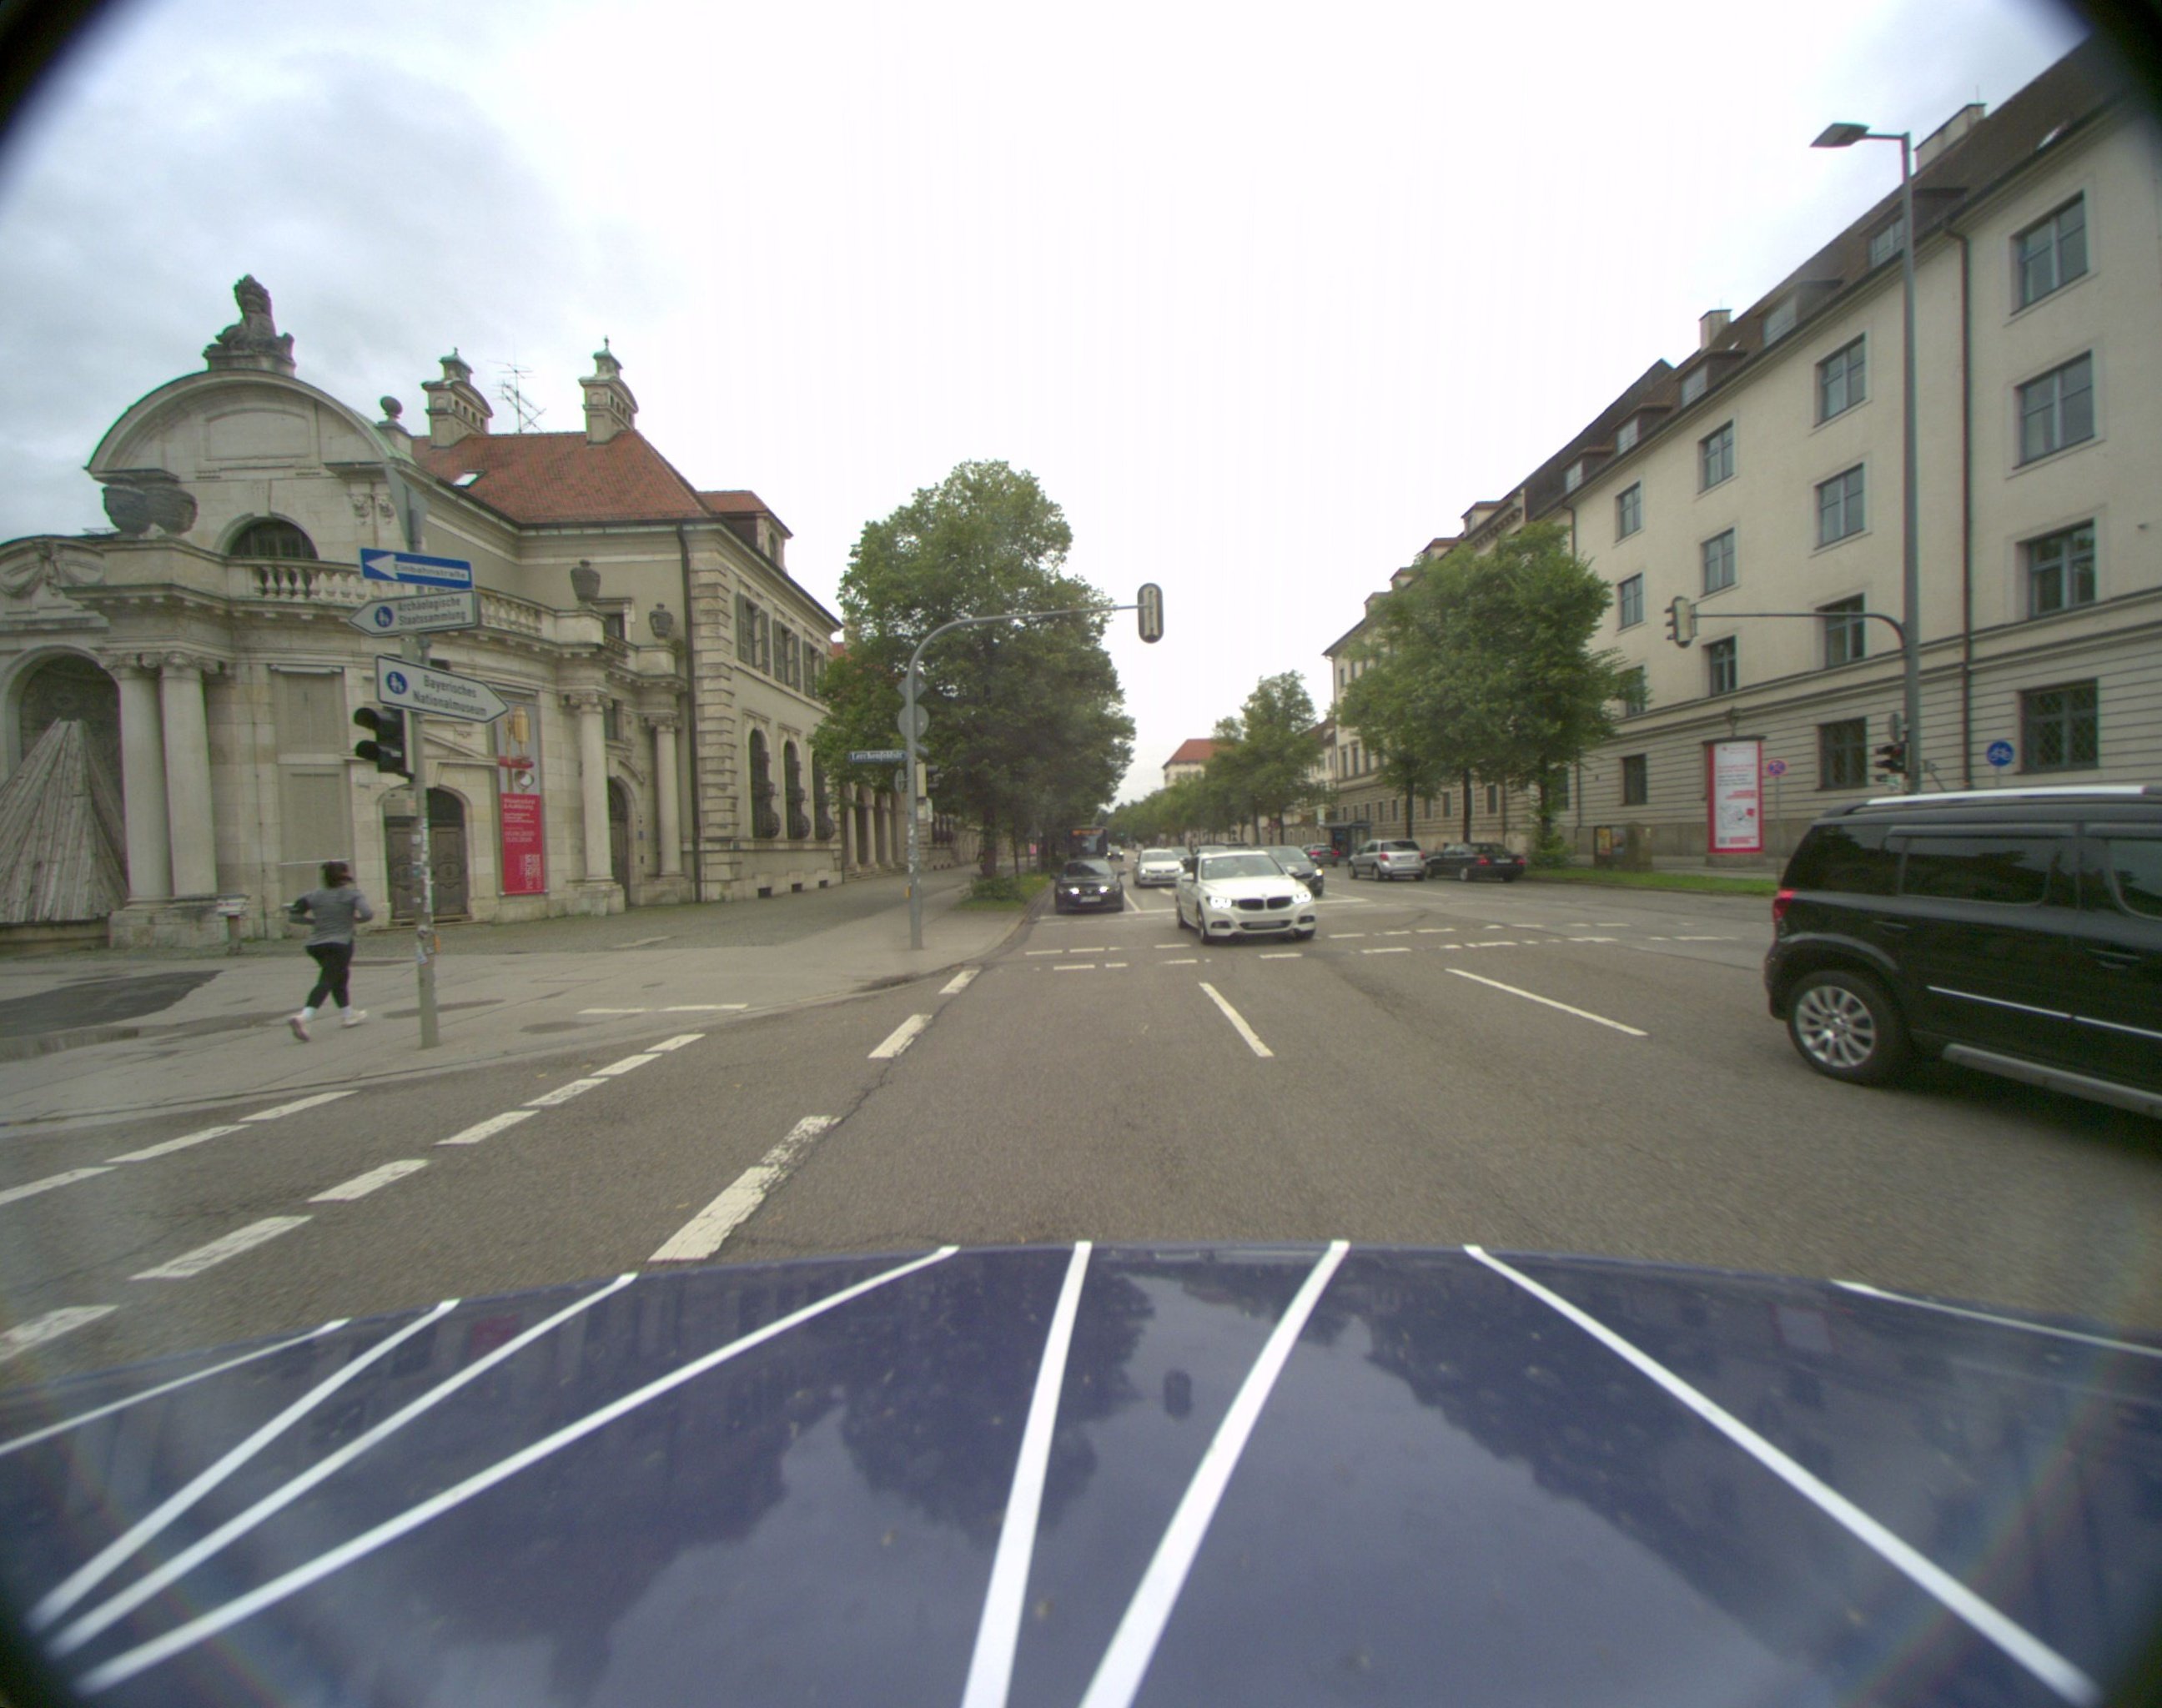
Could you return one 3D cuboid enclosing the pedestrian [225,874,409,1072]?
[{"bbox_3d":[-7.607,1.118,7.646,1.069,1.754,0.772,-5,2,-36],"label":"pedestrian"}]

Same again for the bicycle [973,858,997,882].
[{"bbox_3d":[-4.659,0.762,37.140,0.830,1.001,2.057,-4,1,1],"label":"bicycle"}]

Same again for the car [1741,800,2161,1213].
[{"bbox_3d":[5.148,0.589,2.834,1.727,1.627,4.203,-2,2,0],"label":"car"}]

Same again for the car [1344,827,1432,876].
[{"bbox_3d":[11.407,-0.121,28.531,1.683,1.630,4.164,-2,1,1],"label":"car"}]

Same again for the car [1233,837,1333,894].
[{"bbox_3d":[5.813,0.259,22.392,1.797,1.439,4.273,-2,2,0],"label":"car"}]

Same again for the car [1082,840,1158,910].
[{"bbox_3d":[0.967,0.477,20.838,1.797,1.627,4.273,-2,2,0],"label":"car"}]

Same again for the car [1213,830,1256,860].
[{"bbox_3d":[8.758,-0.539,43.783,1.726,1.577,4.373,-2,2,3],"label":"car"}]

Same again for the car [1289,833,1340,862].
[{"bbox_3d":[14.077,-0.446,46.063,1.727,1.577,4.444,-2,2,0],"label":"car"}]

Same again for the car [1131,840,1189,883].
[{"bbox_3d":[3.031,0.239,29.996,1.797,1.439,4.273,-2,2,0],"label":"car"}]

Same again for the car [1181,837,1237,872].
[{"bbox_3d":[5.802,-0.032,34.836,1.797,1.439,4.273,-2,2,0],"label":"car"}]

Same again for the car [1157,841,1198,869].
[{"bbox_3d":[5.578,0.021,44.386,1.797,1.439,4.273,-2,2,0],"label":"car"}]

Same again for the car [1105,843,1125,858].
[{"bbox_3d":[3.434,-0.376,77.319,1.797,1.439,4.273,-2,2,0],"label":"car"}]

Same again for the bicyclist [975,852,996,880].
[{"bbox_3d":[-4.691,0.582,37.334,0.808,1.306,0.893,-4,2,1],"label":"bicyclist"}]

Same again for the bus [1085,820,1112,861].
[{"bbox_3d":[1.165,-0.934,52.027,1.638,2.570,6.700,-2,1,1],"label":"bus"}]

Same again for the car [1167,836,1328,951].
[{"bbox_3d":[2.770,0.527,13.873,1.797,1.627,5.024,-2,2,0],"label":"car"}]
